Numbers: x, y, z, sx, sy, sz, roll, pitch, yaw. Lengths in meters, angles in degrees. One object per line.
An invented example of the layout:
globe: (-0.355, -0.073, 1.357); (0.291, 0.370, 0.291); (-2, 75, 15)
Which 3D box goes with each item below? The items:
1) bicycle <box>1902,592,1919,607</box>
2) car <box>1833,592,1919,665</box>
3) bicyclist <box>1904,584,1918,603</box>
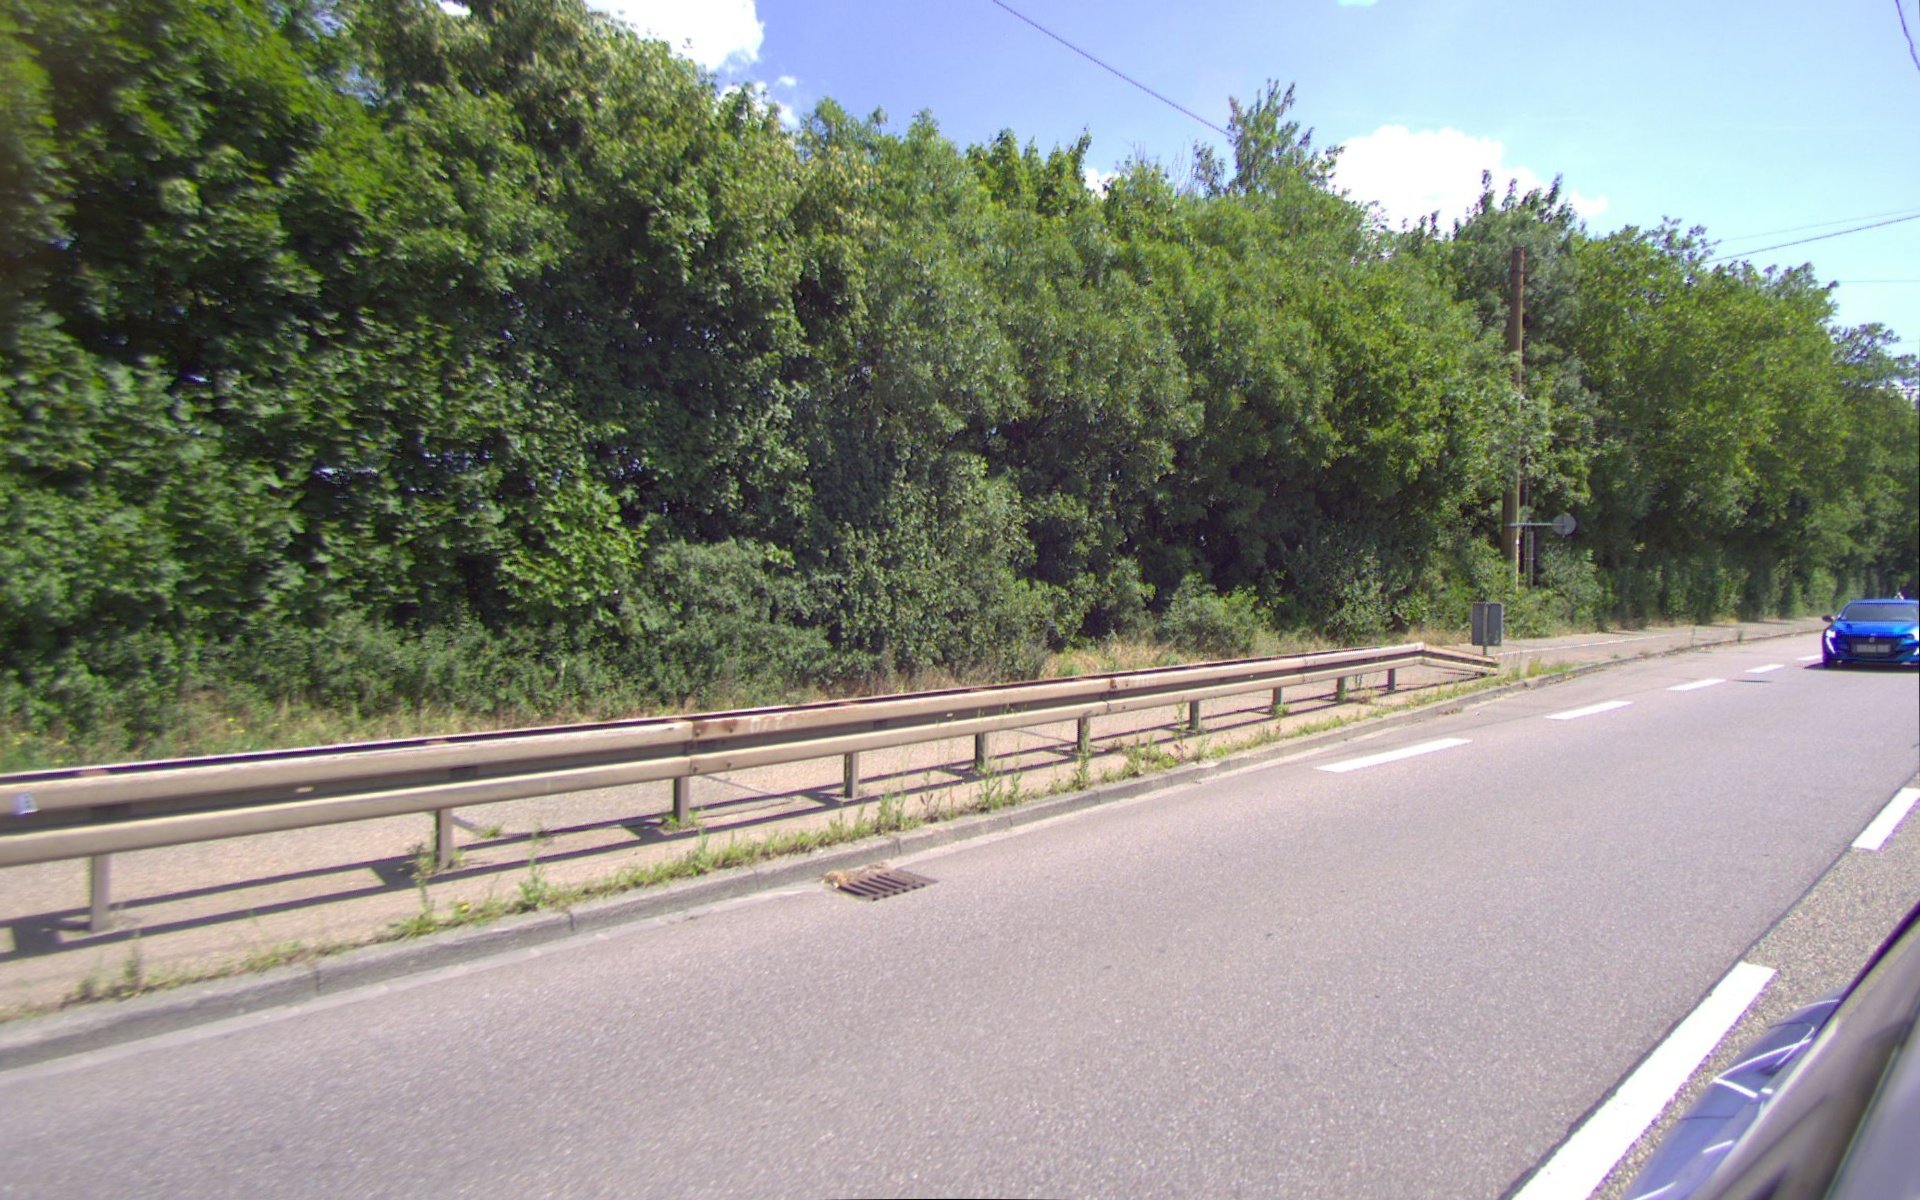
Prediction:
bicycle: (73.327, -0.036, 78.054); (2.493, 1.152, 0.710); (0, 1, -41)
car: (19.985, 0.551, 21.589); (3.680, 1.423, 1.658); (-1, 1, -43)
bicyclist: (73.324, -0.477, 78.038); (0.630, 1.457, 0.704); (0, 1, -41)
